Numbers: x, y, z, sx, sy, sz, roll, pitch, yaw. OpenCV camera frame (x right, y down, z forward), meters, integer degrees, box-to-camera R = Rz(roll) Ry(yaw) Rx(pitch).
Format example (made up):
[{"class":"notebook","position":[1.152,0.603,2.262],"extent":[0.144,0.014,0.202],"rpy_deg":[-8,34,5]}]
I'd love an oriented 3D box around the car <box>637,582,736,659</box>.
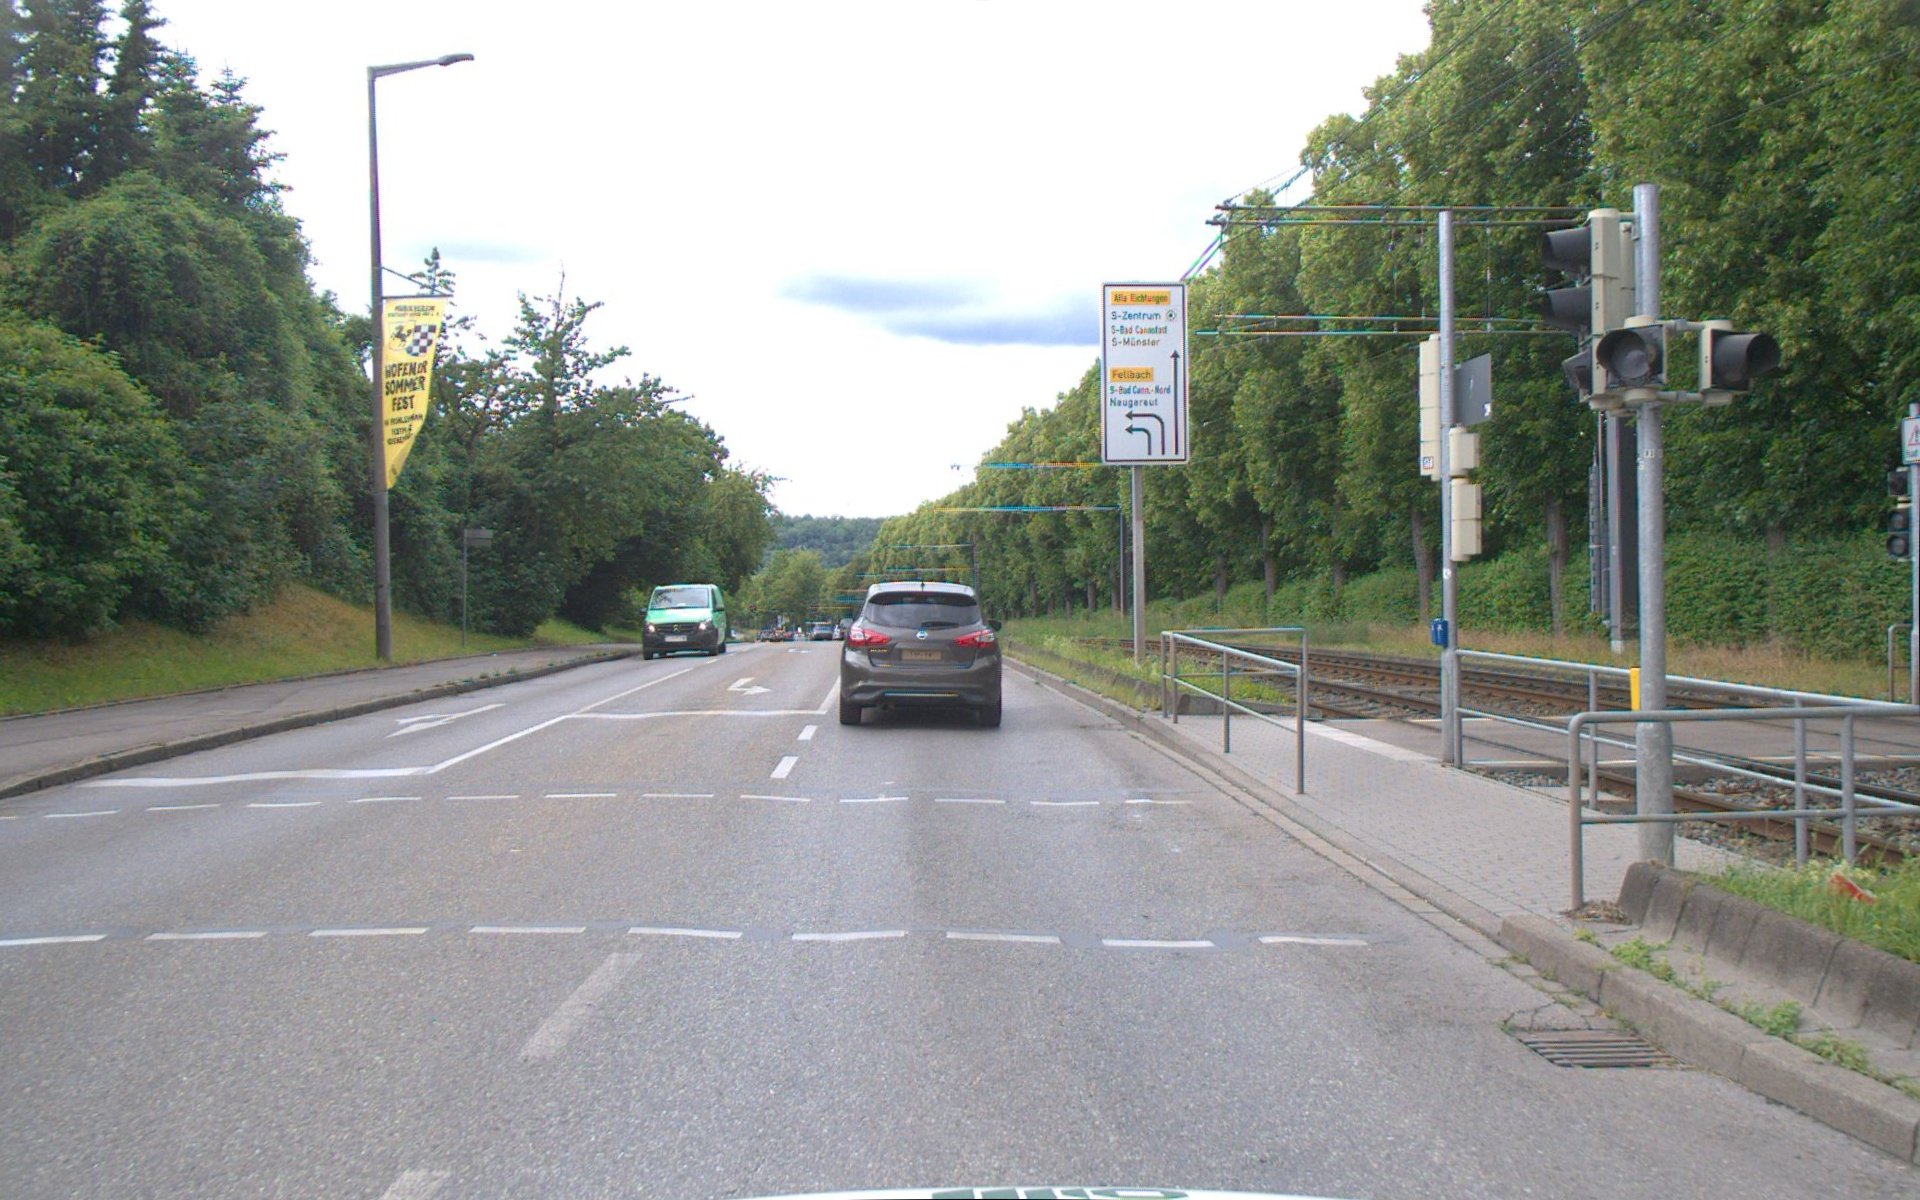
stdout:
[{"class":"car","position":[-7.121,0.512,43.557],"extent":[2.018,1.842,4.726],"rpy_deg":[-2,0,-3]}]

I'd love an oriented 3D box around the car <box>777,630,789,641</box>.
[{"class":"car","position":[-27.618,5.568,258.091],"extent":[1.667,1.744,3.995],"rpy_deg":[1,-2,-5]}]

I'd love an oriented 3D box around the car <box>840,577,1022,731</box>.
[{"class":"car","position":[-0.366,0.542,18.884],"extent":[1.813,1.519,3.998],"rpy_deg":[2,0,-2]}]

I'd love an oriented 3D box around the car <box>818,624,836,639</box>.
[{"class":"car","position":[-14.023,3.294,174.182],"extent":[1.759,1.537,3.995],"rpy_deg":[1,-2,-5]}]

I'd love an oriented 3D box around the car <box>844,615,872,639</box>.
[{"class":"car","position":[-6.436,1.709,104.066],"extent":[1.667,1.469,3.995],"rpy_deg":[1,-2,-5]}]

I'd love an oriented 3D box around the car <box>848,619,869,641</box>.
[{"class":"car","position":[-8.424,2.473,136.971],"extent":[1.667,1.744,3.995],"rpy_deg":[1,-2,-5]}]

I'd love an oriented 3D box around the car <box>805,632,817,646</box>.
[{"class":"car","position":[-20.118,5.265,223.390],"extent":[1.667,1.744,3.995],"rpy_deg":[1,-2,-5]}]

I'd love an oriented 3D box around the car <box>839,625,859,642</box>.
[{"class":"car","position":[-10.370,3.122,154.096],"extent":[1.759,1.537,3.995],"rpy_deg":[1,-2,-5]}]

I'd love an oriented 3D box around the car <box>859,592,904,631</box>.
[{"class":"car","position":[-3.284,0.500,68.557],"extent":[1.667,1.469,3.995],"rpy_deg":[1,-2,-5]}]

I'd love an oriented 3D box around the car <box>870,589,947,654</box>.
[{"class":"car","position":[-1.281,0.553,39.722],"extent":[1.666,1.469,3.996],"rpy_deg":[1,-2,-4]}]
